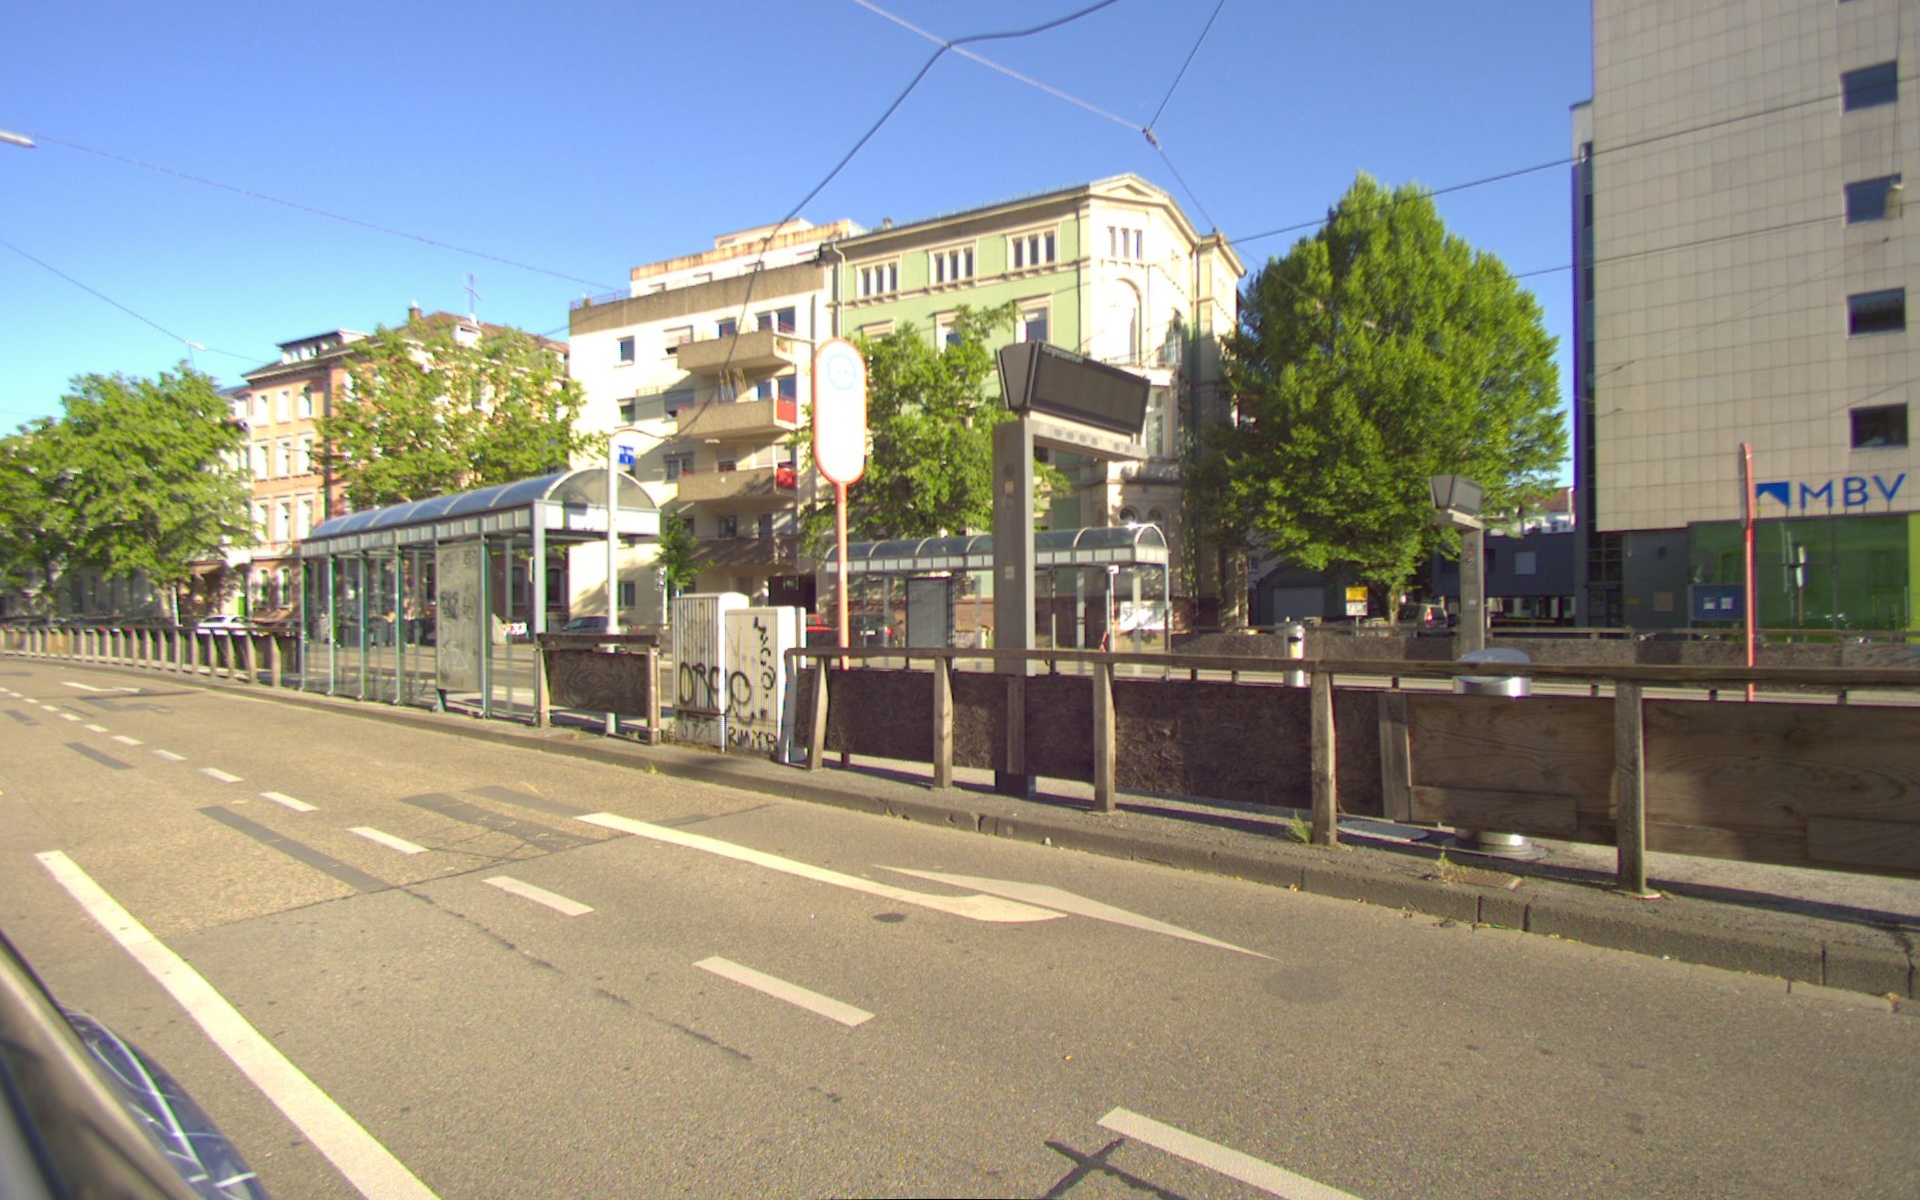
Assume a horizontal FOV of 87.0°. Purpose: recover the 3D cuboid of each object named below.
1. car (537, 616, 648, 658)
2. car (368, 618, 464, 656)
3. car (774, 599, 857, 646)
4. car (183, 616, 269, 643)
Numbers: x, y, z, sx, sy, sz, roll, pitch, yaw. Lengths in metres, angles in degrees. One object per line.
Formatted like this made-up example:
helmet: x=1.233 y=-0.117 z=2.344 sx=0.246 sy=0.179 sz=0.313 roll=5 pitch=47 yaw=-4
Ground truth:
car: x=-14.083 y=1.402 z=38.734 sx=3.987 sy=1.541 sz=1.978 roll=-1 pitch=-2 yaw=32
car: x=-23.652 y=1.585 z=43.971 sx=3.987 sy=1.541 sz=1.978 roll=-1 pitch=-2 yaw=32
car: x=-6.522 y=1.021 z=45.981 sx=1.791 sy=2.029 sz=3.963 roll=-1 pitch=-1 yaw=27
car: x=-39.118 y=1.541 z=54.015 sx=1.565 sy=1.360 sz=3.631 roll=0 pitch=-1 yaw=11
